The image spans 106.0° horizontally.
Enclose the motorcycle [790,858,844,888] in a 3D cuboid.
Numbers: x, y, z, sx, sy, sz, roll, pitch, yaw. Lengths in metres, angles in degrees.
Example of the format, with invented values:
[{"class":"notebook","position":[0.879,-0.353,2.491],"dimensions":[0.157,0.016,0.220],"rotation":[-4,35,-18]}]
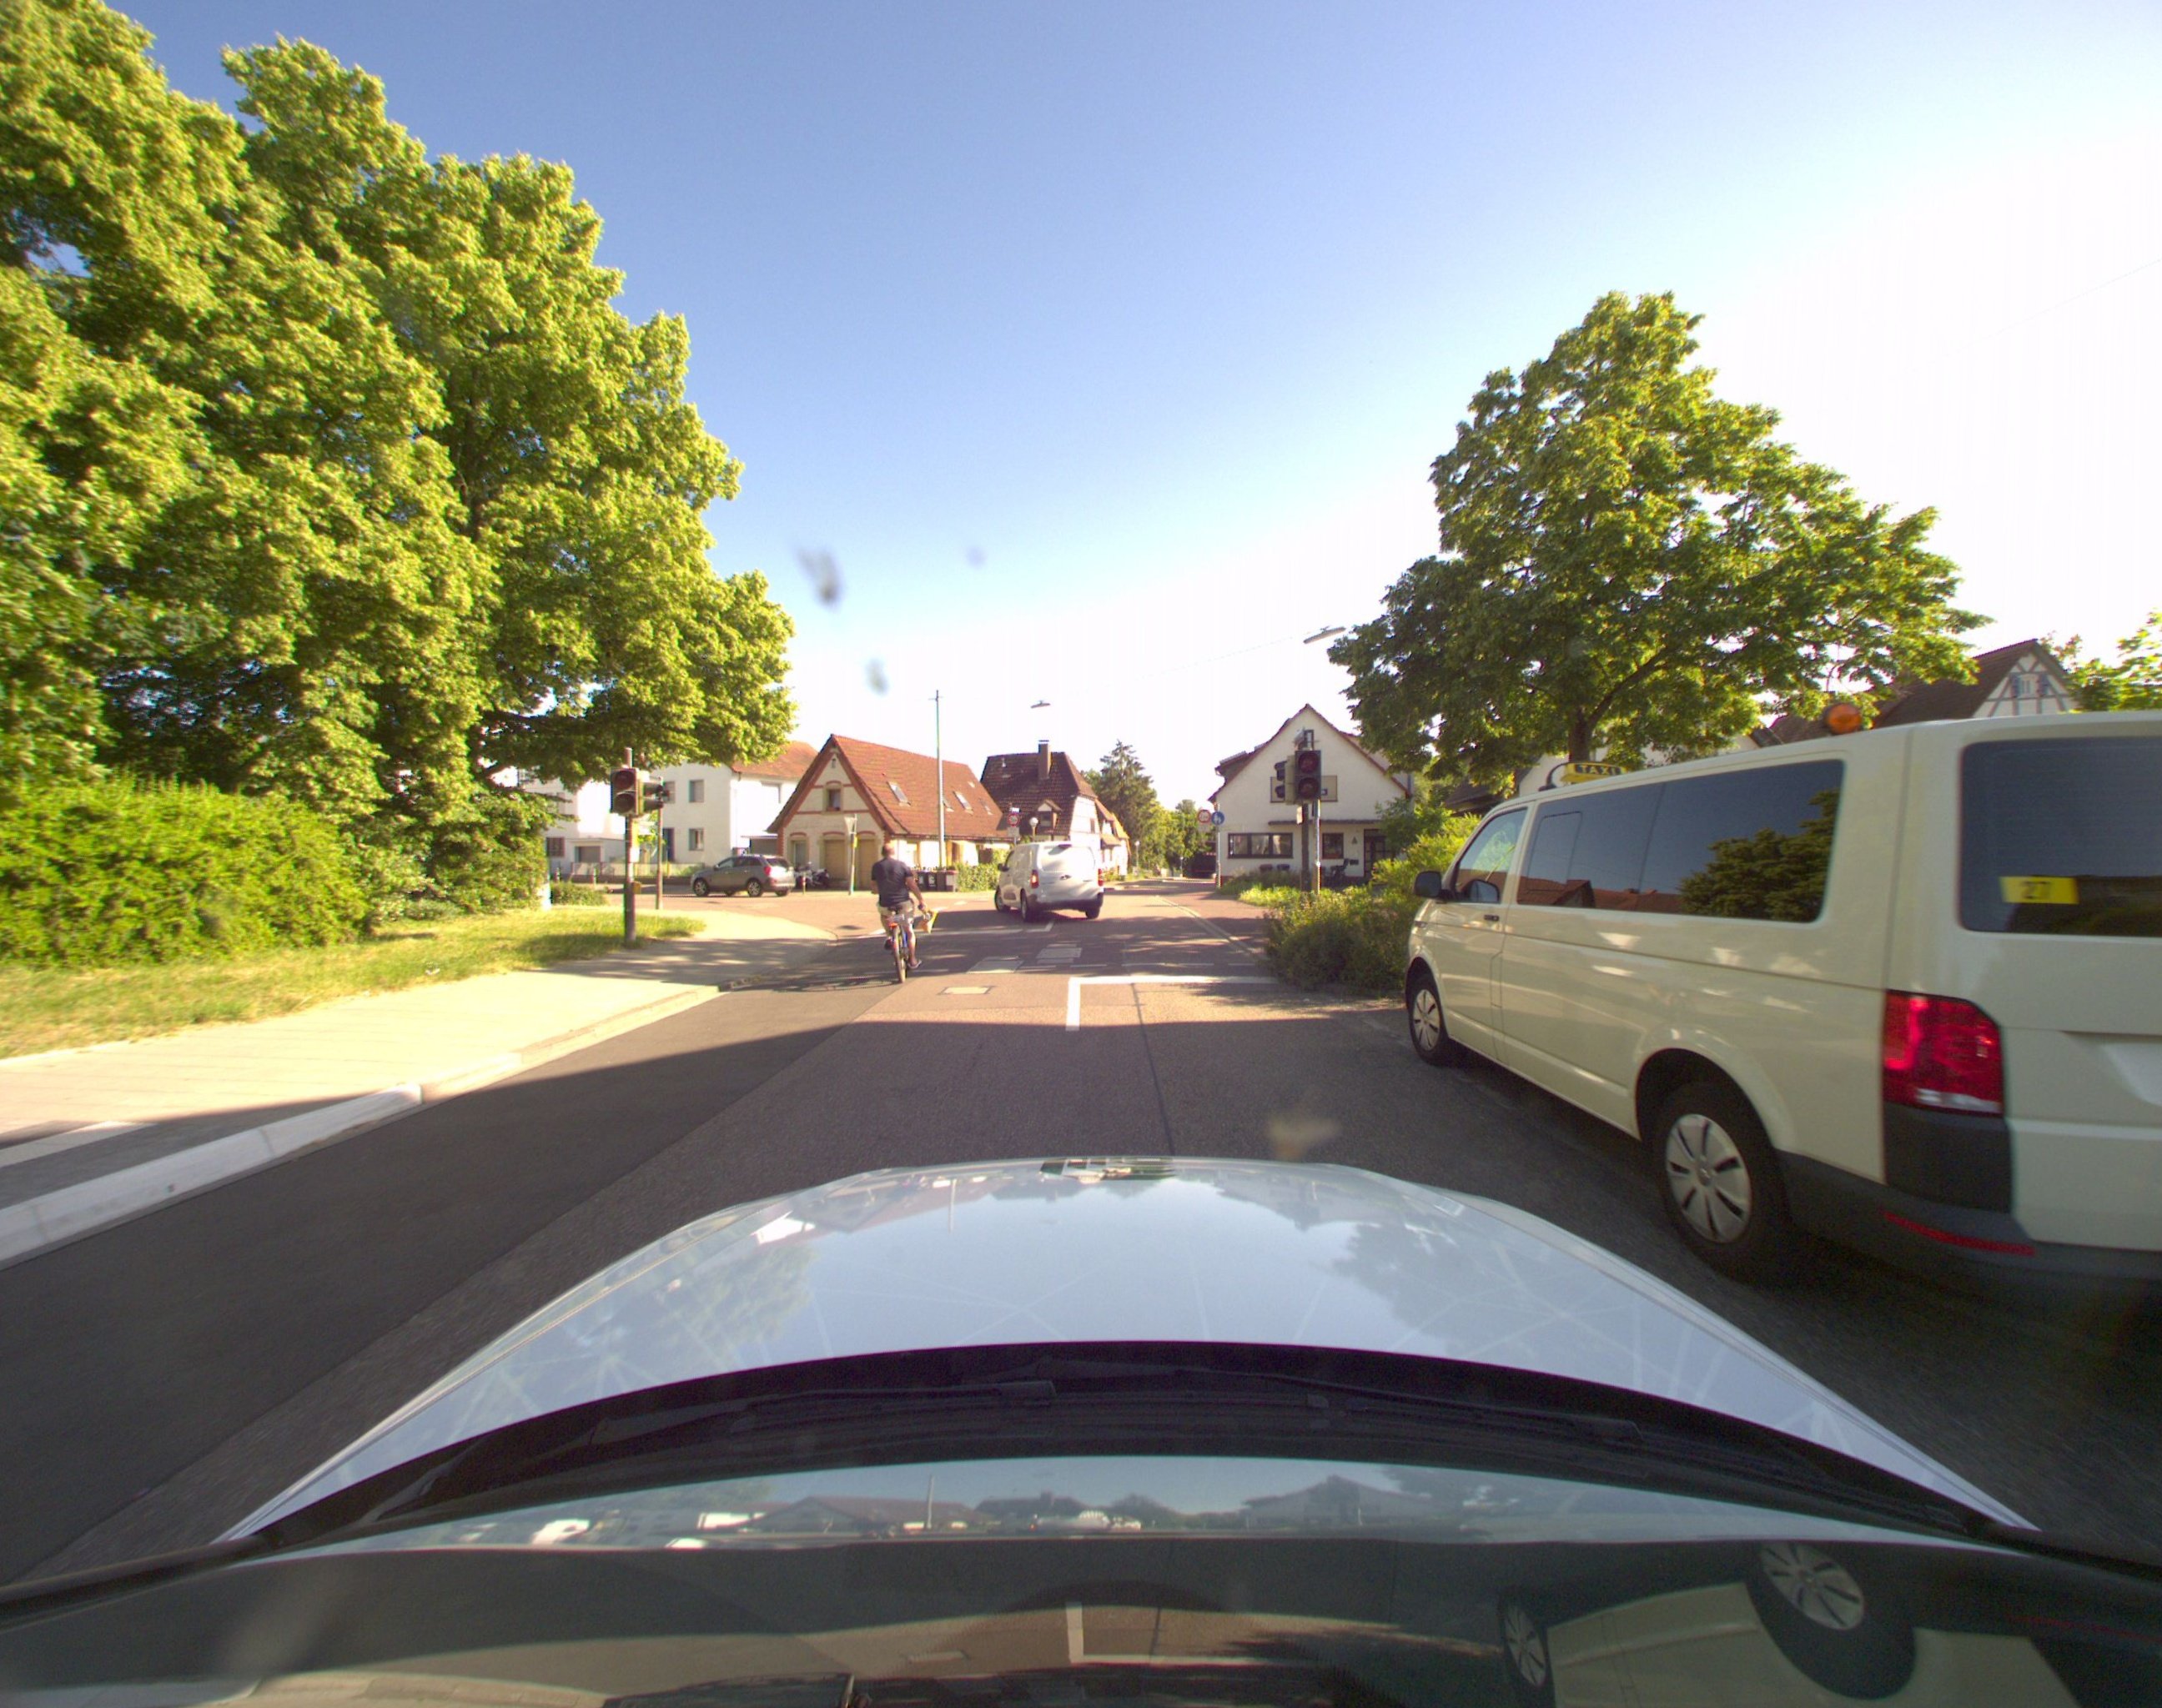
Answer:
[{"class":"motorcycle","position":[-11.921,0.834,36.784],"dimensions":[2.223,1.295,0.887],"rotation":[0,2,20]}]

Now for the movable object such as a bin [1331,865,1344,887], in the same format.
[{"class":"movable object such as a bin","position":[11.422,0.975,36.296],"dimensions":[0.494,0.976,0.596],"rotation":[0,0,11]}]

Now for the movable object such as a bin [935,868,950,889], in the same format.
[{"class":"movable object such as a bin","position":[-6.146,1.090,36.089],"dimensions":[0.407,0.924,0.628],"rotation":[0,0,20]}]

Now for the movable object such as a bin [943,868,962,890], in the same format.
[{"class":"movable object such as a bin","position":[-5.663,1.099,35.923],"dimensions":[0.551,0.924,0.628],"rotation":[0,0,20]}]

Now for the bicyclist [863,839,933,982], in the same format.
[{"class":"bicyclist","position":[-2.392,0.712,10.725],"dimensions":[0.763,1.789,0.851],"rotation":[-1,0,-6]}]

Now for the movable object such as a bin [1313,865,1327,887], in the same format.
[{"class":"movable object such as a bin","position":[10.679,0.968,36.433],"dimensions":[0.526,0.983,0.671],"rotation":[0,0,11]}]

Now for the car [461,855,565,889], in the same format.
[{"class":"car","position":[-27.302,0.844,39.178],"dimensions":[4.186,1.549,1.955],"rotation":[0,0,19]}]

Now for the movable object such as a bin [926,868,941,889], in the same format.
[{"class":"movable object such as a bin","position":[-6.559,1.087,36.234],"dimensions":[0.409,0.906,0.629],"rotation":[0,1,20]}]

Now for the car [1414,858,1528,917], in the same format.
[{"class":"car","position":[11.545,0.921,24.468],"dimensions":[1.980,1.421,4.818],"rotation":[0,1,11]}]

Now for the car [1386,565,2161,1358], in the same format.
[{"class":"car","position":[3.357,0.309,4.407],"dimensions":[1.985,2.079,4.582],"rotation":[1,-1,4]}]

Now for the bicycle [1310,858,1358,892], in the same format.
[{"class":"bicycle","position":[9.883,0.824,31.881],"dimensions":[1.726,1.284,0.702],"rotation":[0,-1,10]}]

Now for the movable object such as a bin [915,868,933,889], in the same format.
[{"class":"movable object such as a bin","position":[-7.015,1.078,36.417],"dimensions":[0.503,0.924,0.628],"rotation":[0,0,20]}]

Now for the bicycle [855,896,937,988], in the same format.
[{"class":"bicycle","position":[-2.365,1.082,10.648],"dimensions":[0.774,0.940,2.286],"rotation":[-1,0,-6]}]

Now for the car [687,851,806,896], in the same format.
[{"class":"car","position":[-13.694,0.761,33.368],"dimensions":[4.187,1.725,1.954],"rotation":[0,-1,18]}]

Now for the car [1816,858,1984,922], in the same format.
[{"class":"car","position":[21.918,0.885,21.999],"dimensions":[1.584,1.474,3.826],"rotation":[0,1,17]}]

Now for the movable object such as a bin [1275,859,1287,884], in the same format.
[{"class":"movable object such as a bin","position":[9.017,0.790,36.703],"dimensions":[0.523,1.123,0.751],"rotation":[0,0,11]}]

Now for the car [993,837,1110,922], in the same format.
[{"class":"car","position":[-0.881,0.536,20.360],"dimensions":[1.960,1.848,4.537],"rotation":[-1,1,-15]}]
